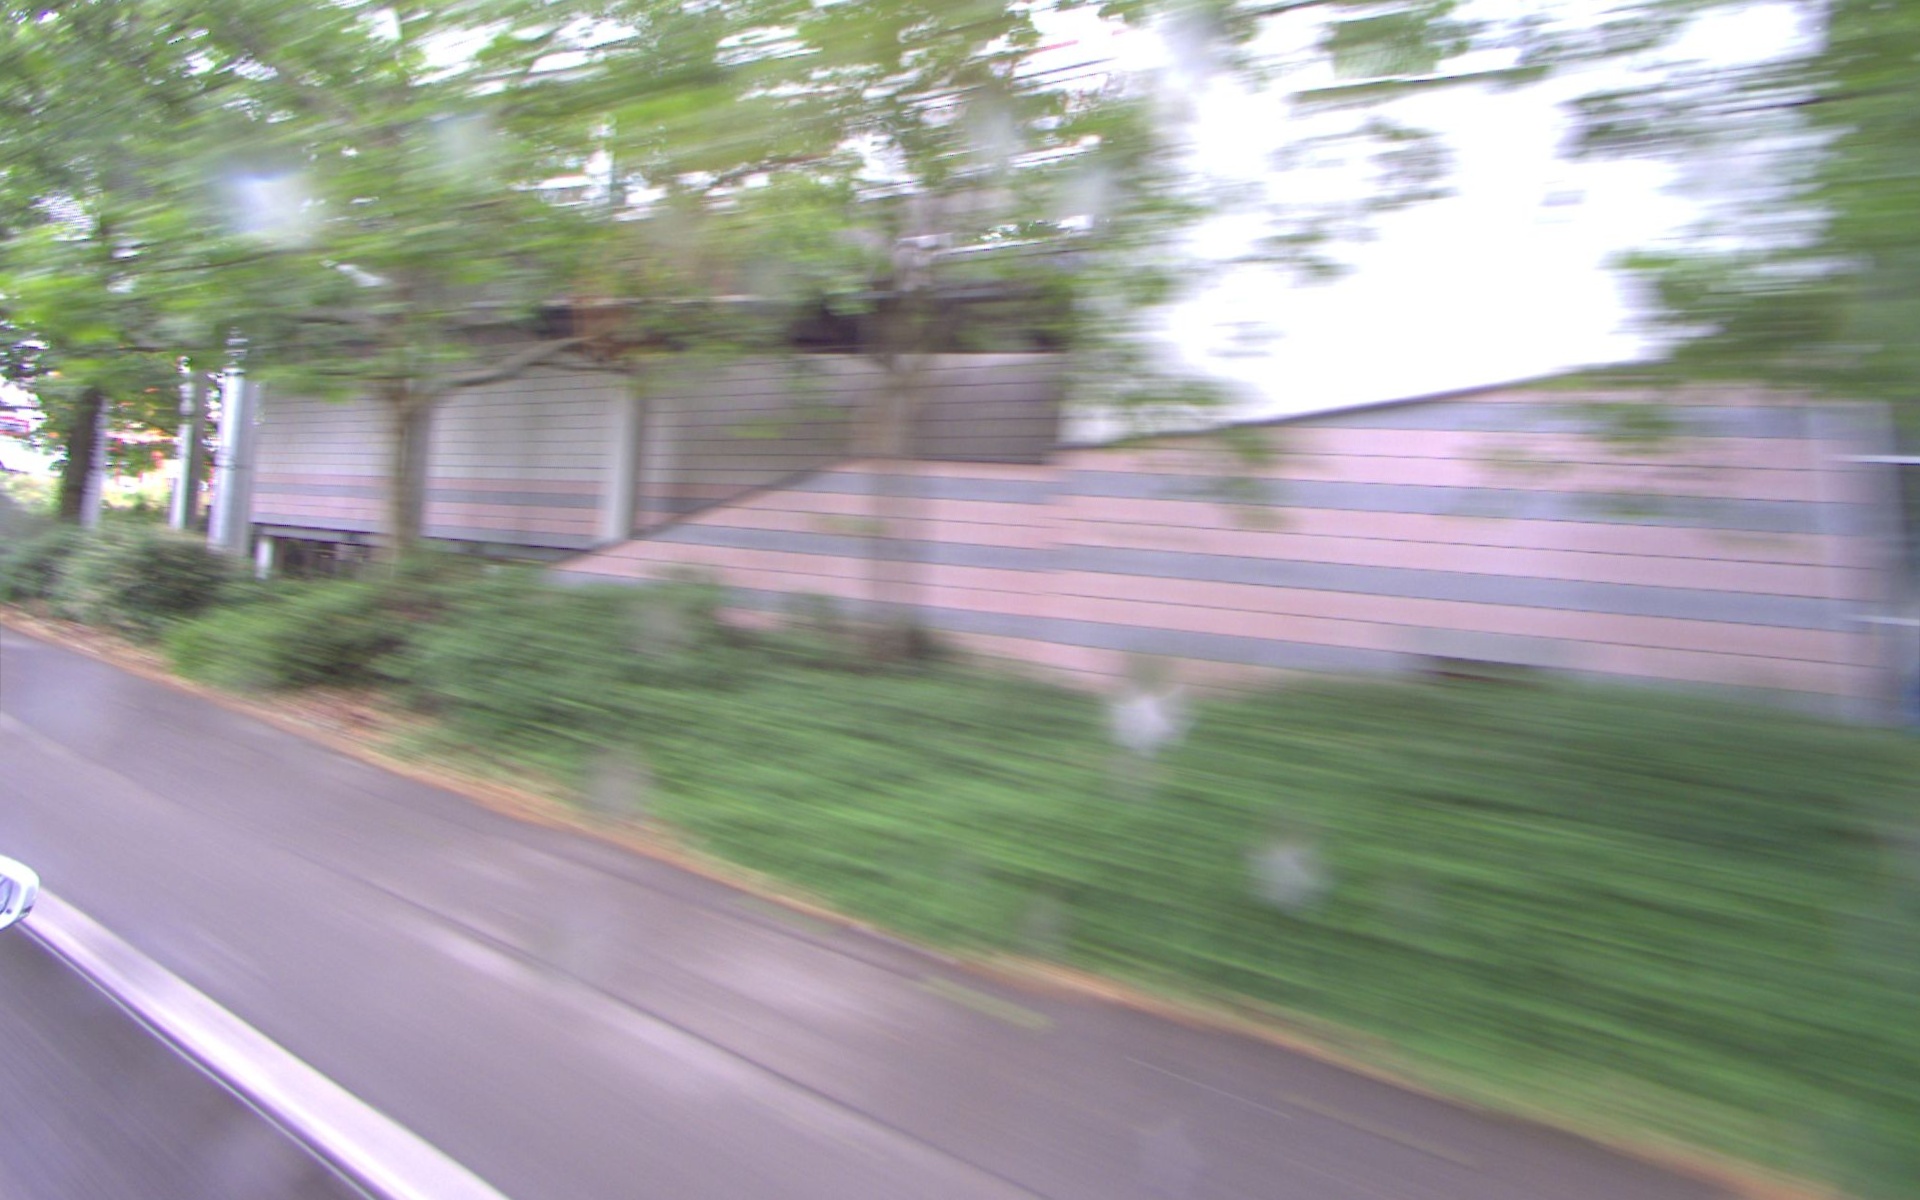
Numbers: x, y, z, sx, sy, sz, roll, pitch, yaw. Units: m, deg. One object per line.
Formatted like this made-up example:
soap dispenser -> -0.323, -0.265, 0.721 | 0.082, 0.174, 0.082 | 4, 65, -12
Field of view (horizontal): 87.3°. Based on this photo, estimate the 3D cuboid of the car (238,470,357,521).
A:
car -> -34.579, -5.428, 52.619 | 1.882, 1.805, 4.778 | 7, 0, 28

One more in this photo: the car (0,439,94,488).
car -> -38.137, -5.659, 40.808 | 1.871, 1.392, 4.108 | 7, -2, 31
